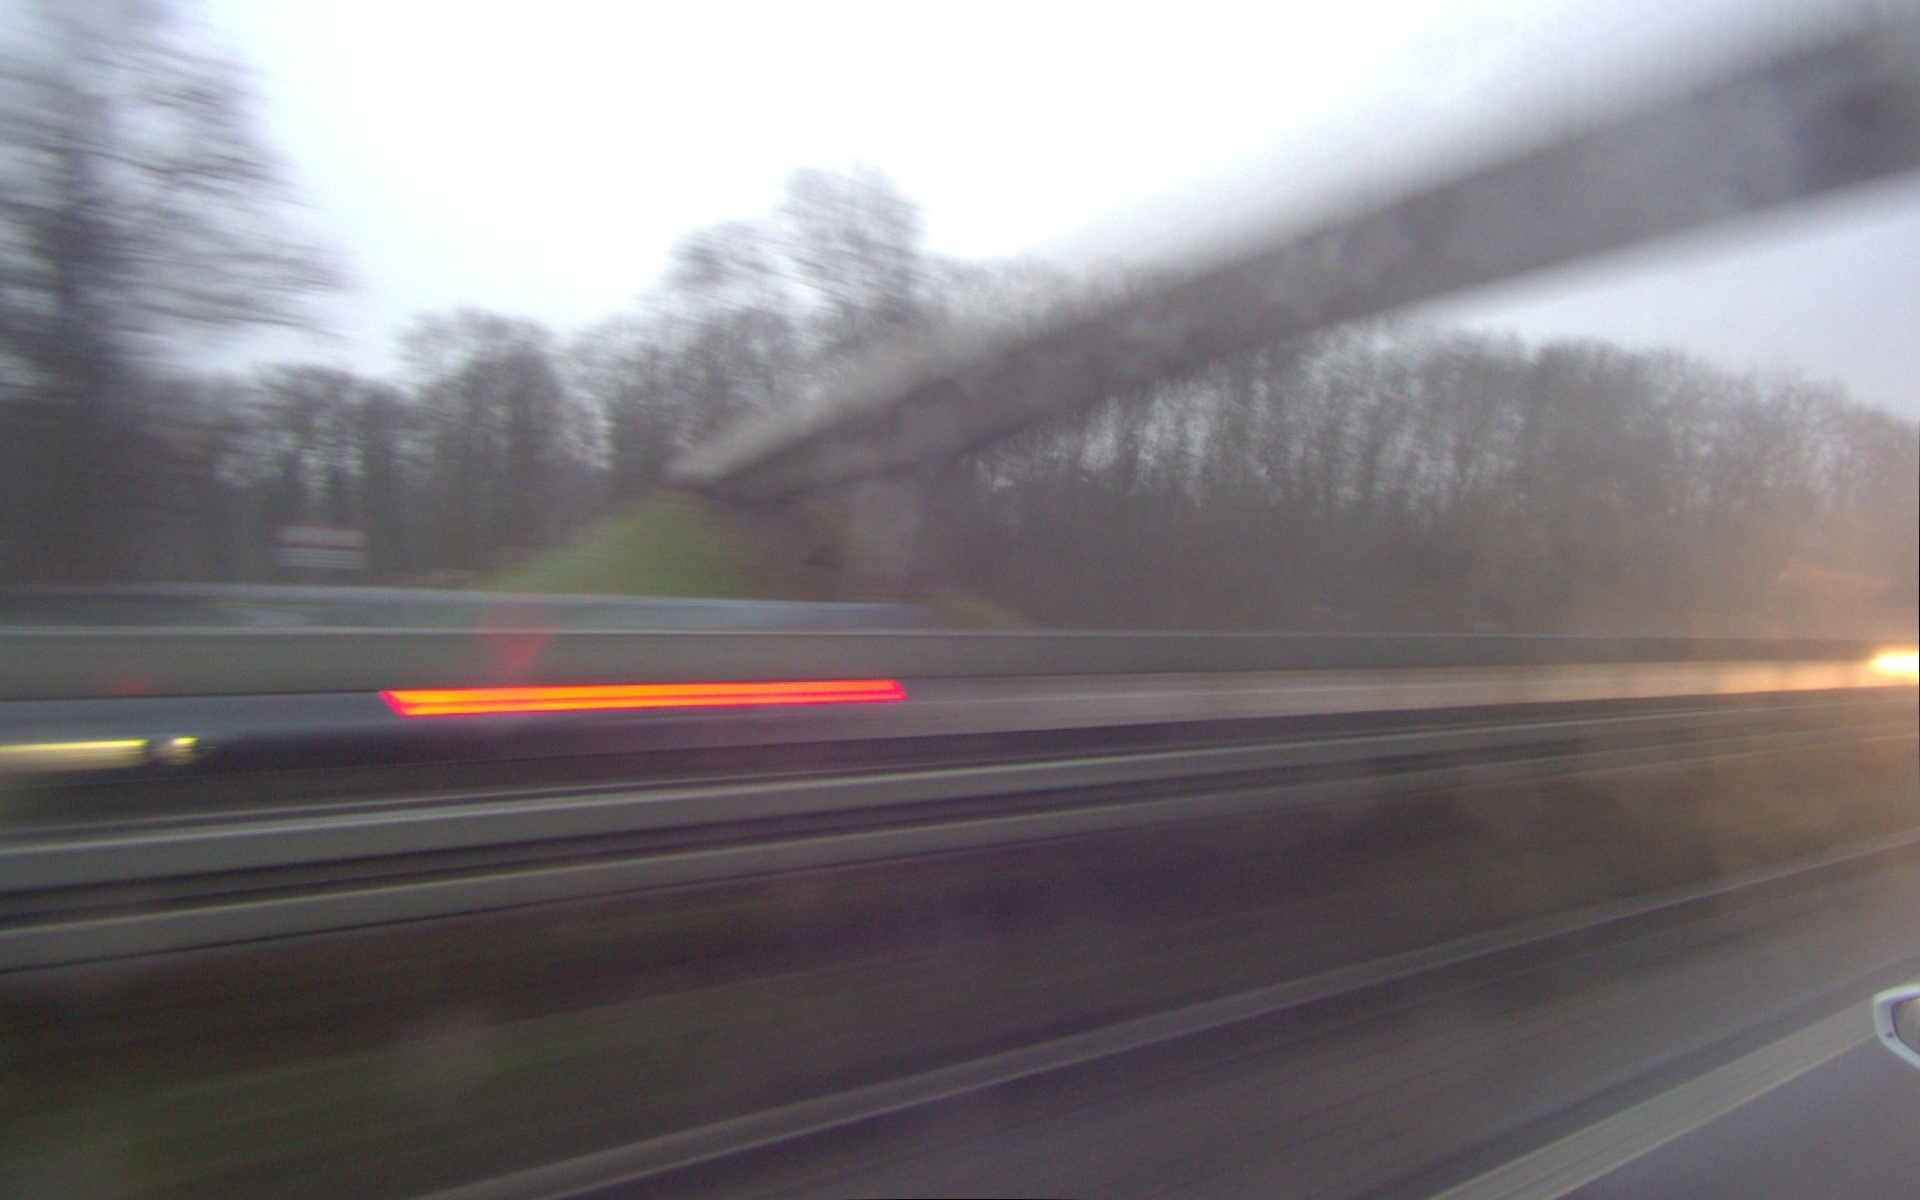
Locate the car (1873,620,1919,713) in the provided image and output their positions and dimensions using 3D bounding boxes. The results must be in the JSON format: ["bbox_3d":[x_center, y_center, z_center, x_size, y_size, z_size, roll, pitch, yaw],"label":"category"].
[{"bbox_3d":[21.174,1.390,20.821,5.200,1.792,1.894,2,1,-31],"label":"car"}]

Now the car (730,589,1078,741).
[{"bbox_3d":[-0.667,0.750,12.526,3.952,1.628,1.772,2,0,-30],"label":"car"}]

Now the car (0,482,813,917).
[{"bbox_3d":[-3.287,0.427,5.541,4.564,1.792,1.725,2,1,-31],"label":"car"}]
